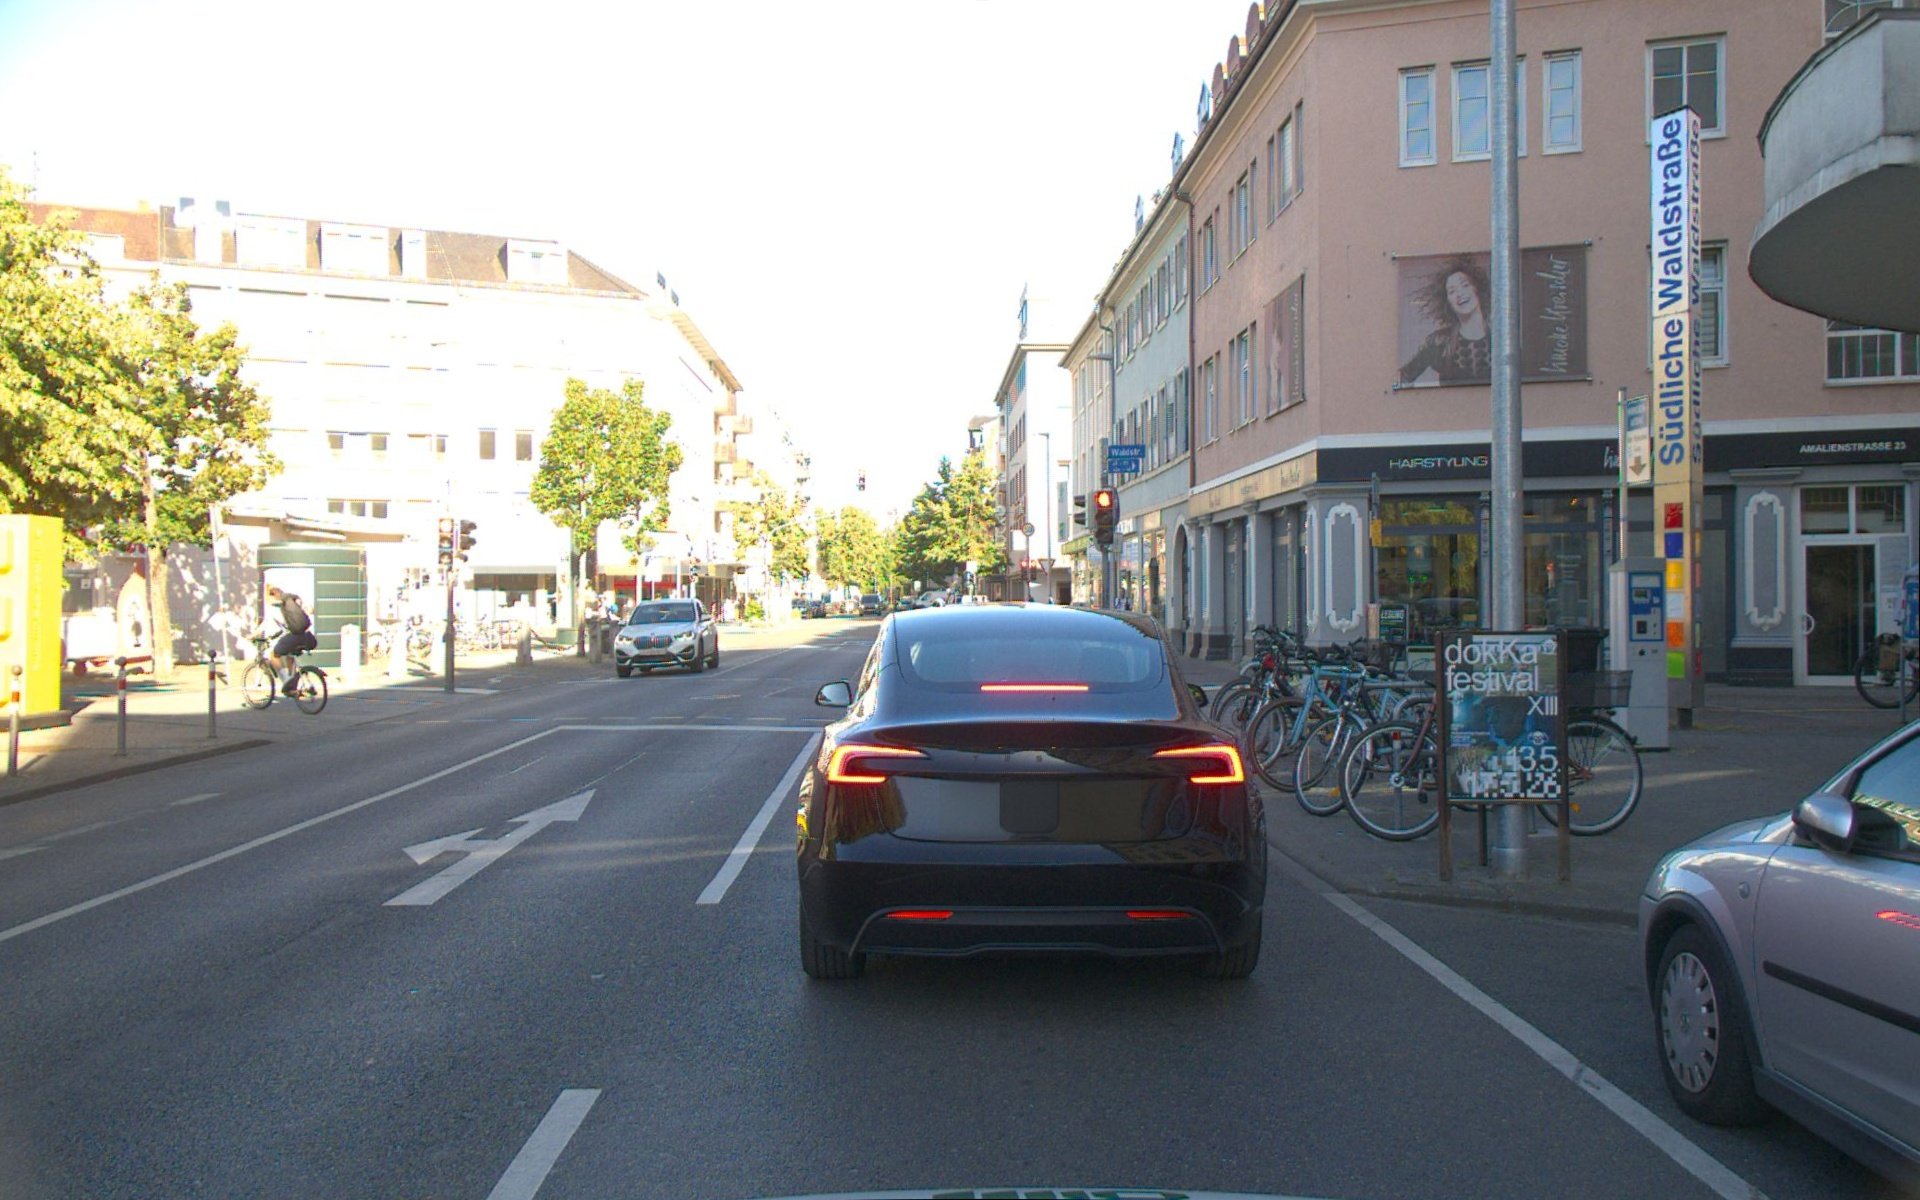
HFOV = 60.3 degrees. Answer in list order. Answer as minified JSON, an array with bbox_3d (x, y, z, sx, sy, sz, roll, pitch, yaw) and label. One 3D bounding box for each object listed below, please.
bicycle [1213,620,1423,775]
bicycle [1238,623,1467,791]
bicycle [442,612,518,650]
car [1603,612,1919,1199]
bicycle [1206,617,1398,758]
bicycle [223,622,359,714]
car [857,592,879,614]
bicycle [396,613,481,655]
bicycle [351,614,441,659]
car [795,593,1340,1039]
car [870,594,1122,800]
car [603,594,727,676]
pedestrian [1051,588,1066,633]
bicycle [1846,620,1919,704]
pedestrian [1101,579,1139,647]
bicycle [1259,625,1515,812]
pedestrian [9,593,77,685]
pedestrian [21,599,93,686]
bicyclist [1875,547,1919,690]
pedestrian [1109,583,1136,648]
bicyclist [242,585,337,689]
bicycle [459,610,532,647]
[{"bbox_3d":[2.929,0.788,13.571,1.595,1.180,0.432,-2,0,-2],"label":"bicycle"},{"bbox_3d":[2.948,0.791,12.472,1.595,1.180,0.432,-2,0,-2],"label":"bicycle"},{"bbox_3d":[-14.438,0.934,49.743,2.040,1.123,0.806,0,0,-1],"label":"bicycle"},{"bbox_3d":[2.913,0.754,3.509,1.588,1.419,3.886,0,0,0],"label":"car"},{"bbox_3d":[3.045,0.775,14.795,1.594,1.180,0.433,-2,0,0],"label":"bicycle"},{"bbox_3d":[-9.559,0.955,23.637,1.731,1.254,0.799,0,0,22],"label":"bicycle"},{"bbox_3d":[-7.729,0.246,139.422,1.793,1.754,3.998,0,0,-2],"label":"car"},{"bbox_3d":[-14.169,0.917,44.972,2.040,1.123,0.806,0,0,-1],"label":"bicycle"},{"bbox_3d":[-14.462,0.928,42.448,2.040,1.123,0.806,0,0,-1],"label":"bicycle"},{"bbox_3d":[0.359,0.716,7.403,1.812,1.480,3.786,0,0,0],"label":"car"},{"bbox_3d":[0.263,0.696,13.818,1.812,1.480,3.786,0,0,0],"label":"car"},{"bbox_3d":[-6.346,0.716,35.971,1.953,1.567,3.999,-3,0,-1],"label":"car"},{"bbox_3d":[3.805,0.412,63.841,0.559,1.720,0.387,0,0,-1],"label":"pedestrian"},{"bbox_3d":[11.680,0.751,19.739,1.823,0.962,0.629,1,0,10],"label":"bicycle"},{"bbox_3d":[4.503,0.363,46.614,0.979,1.883,0.615,0,0,-1],"label":"pedestrian"},{"bbox_3d":[2.882,0.790,11.231,1.595,1.180,0.432,-2,0,-2],"label":"bicycle"},{"bbox_3d":[-17.720,0.746,31.969,0.882,1.755,0.744,0,0,3],"label":"pedestrian"},{"bbox_3d":[-17.500,0.808,32.053,0.966,1.665,0.737,0,0,3],"label":"pedestrian"},{"bbox_3d":[11.632,0.215,19.749,1.096,1.683,0.629,0,0,10],"label":"bicyclist"},{"bbox_3d":[4.585,0.426,46.689,0.689,1.814,0.533,0,0,-1],"label":"pedestrian"},{"bbox_3d":[-9.580,0.512,23.638,0.984,1.460,0.799,0,0,22],"label":"bicyclist"},{"bbox_3d":[-14.581,0.893,51.934,2.040,1.123,0.806,0,0,-1],"label":"bicycle"}]
